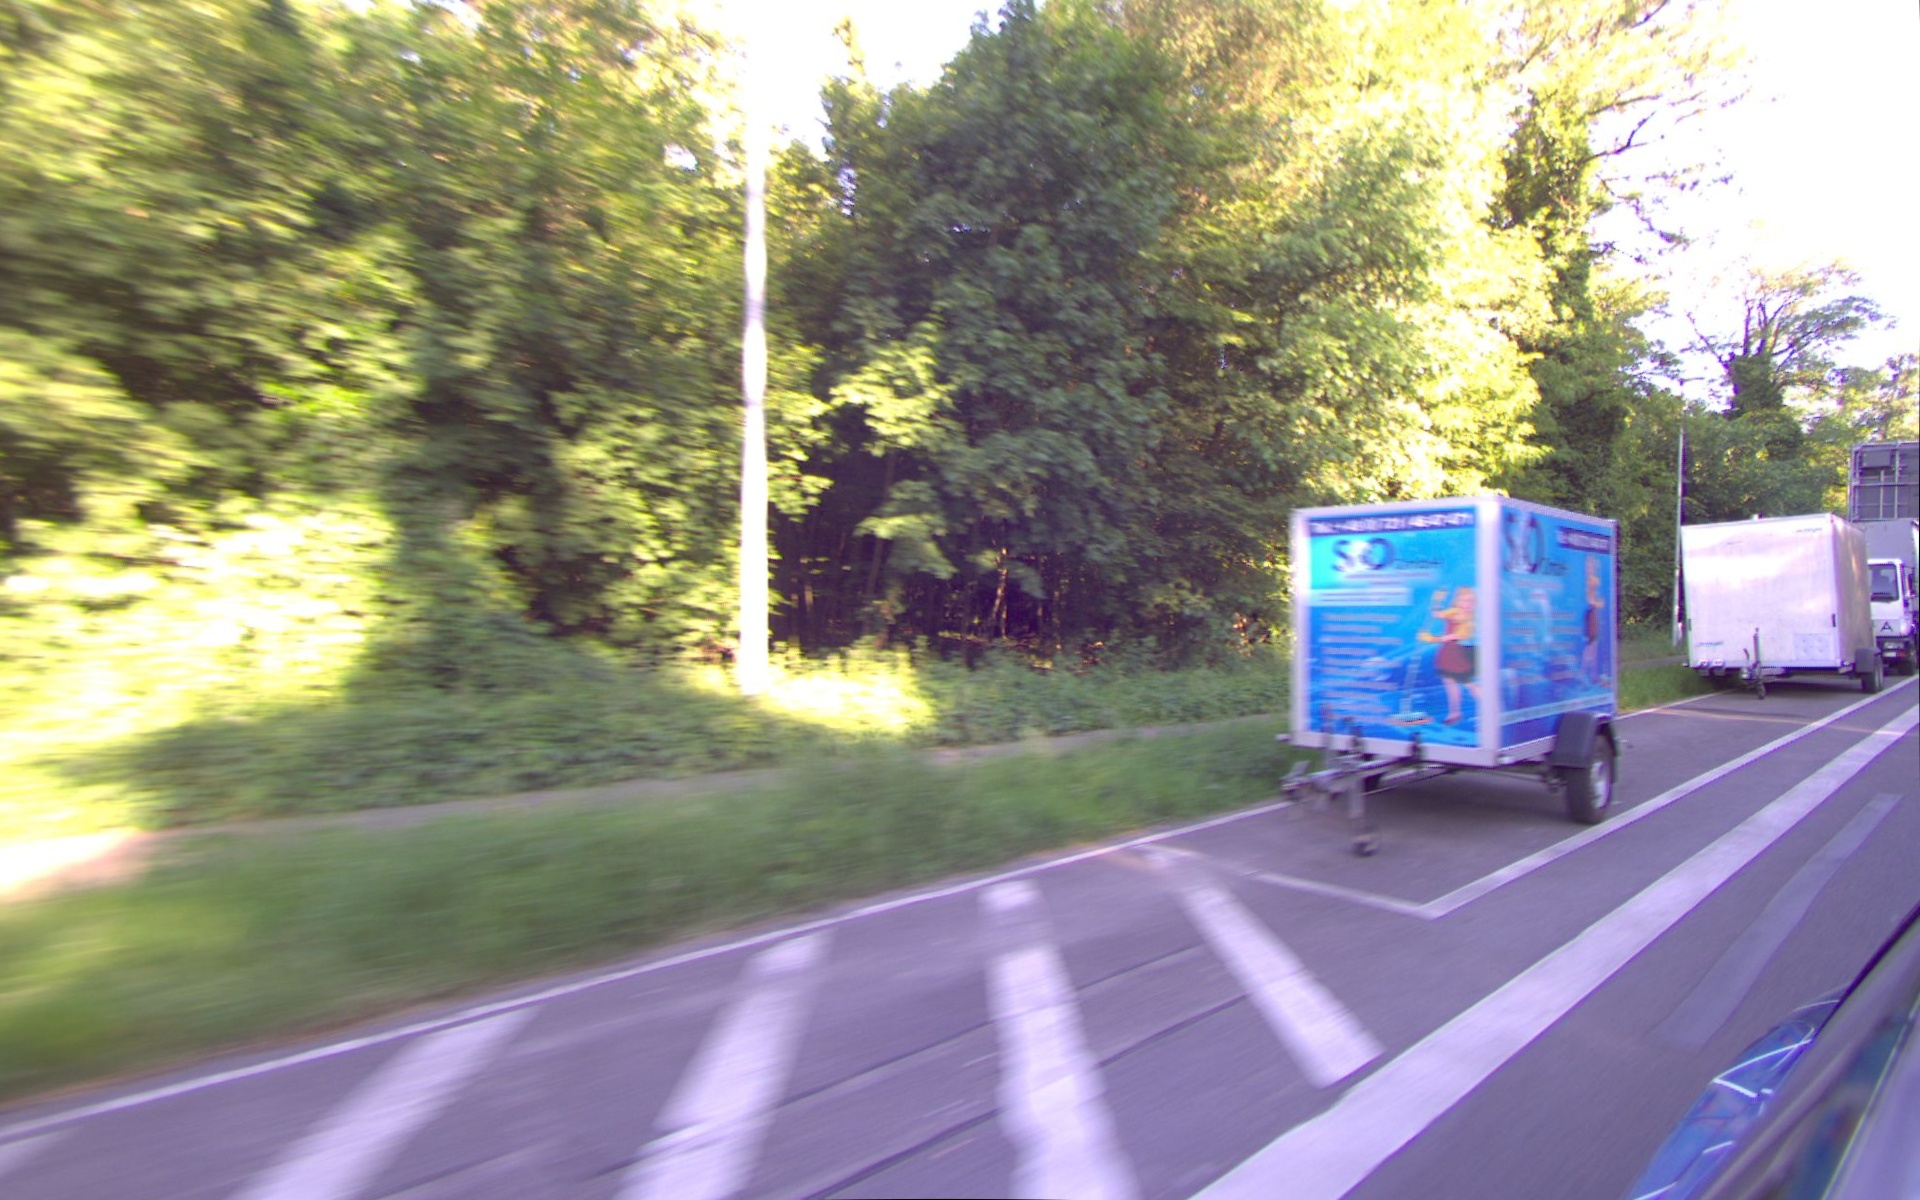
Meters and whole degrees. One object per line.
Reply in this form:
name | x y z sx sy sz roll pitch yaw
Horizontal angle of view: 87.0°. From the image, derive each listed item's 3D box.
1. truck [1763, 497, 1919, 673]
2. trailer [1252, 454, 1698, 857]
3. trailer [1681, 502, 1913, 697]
truck | 20.468 -0.329 22.827 6.984 3.409 2.509 0 0 -41
trailer | 4.138 0.307 7.738 4.471 2.264 1.502 0 0 -41
trailer | 14.565 -0.013 17.500 5.116 2.880 2.276 0 0 -41
